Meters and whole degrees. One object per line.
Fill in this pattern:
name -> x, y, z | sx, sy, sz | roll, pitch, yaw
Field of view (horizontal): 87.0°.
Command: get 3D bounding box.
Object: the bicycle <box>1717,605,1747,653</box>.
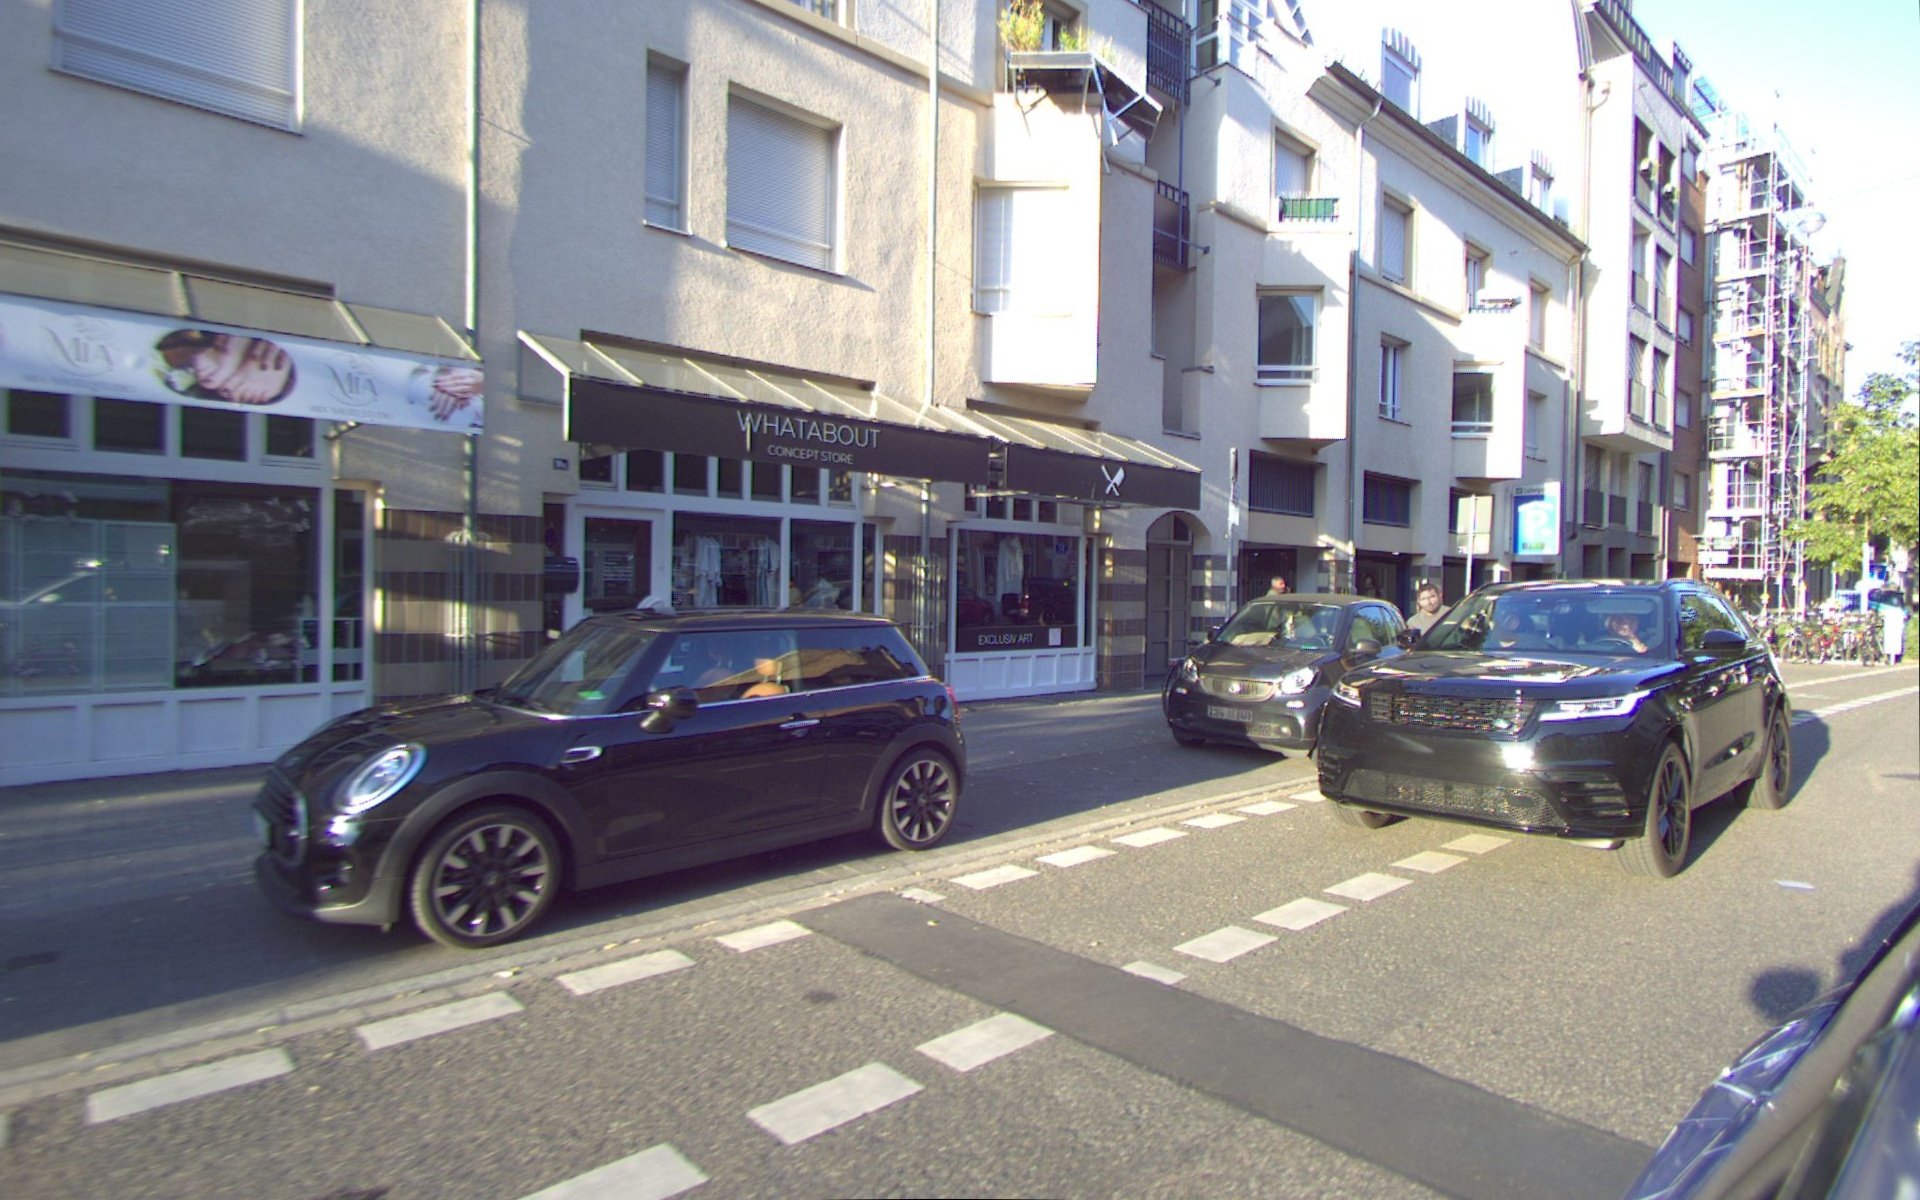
bicycle -> 19.231, 0.706, 25.206 | 1.498, 1.114, 0.382 | -1, 2, -45

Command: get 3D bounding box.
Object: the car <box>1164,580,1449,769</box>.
car -> 3.509, 0.620, 10.133 | 2.649, 1.573, 1.635 | 0, 2, -43

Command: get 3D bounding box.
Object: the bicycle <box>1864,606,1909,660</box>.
bicycle -> 20.975, 0.736, 22.894 | 1.535, 1.155, 0.364 | -1, 1, -33

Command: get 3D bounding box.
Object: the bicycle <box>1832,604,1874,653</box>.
bicycle -> 21.632, 0.682, 24.534 | 0.379, 1.114, 1.508 | 1, 1, 28

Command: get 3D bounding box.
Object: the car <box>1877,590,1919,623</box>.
car -> 47.894, 0.392, 49.313 | 1.877, 1.530, 4.536 | 2, 1, -40

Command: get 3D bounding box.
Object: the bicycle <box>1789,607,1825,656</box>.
bicycle -> 20.219, 0.734, 24.155 | 1.537, 1.114, 0.382 | 0, 1, -40

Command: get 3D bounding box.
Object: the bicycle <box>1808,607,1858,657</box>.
bicycle -> 20.365, 0.728, 23.606 | 1.492, 1.122, 0.373 | 0, 1, -29

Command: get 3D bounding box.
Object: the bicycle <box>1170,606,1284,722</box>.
bicycle -> 3.186, 0.716, 11.982 | 1.795, 1.249, 0.397 | 0, 2, -44

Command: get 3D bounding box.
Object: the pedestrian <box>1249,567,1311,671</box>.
pedestrian -> 5.287, 0.292, 16.720 | 0.798, 1.667, 0.606 | 0, 0, -36

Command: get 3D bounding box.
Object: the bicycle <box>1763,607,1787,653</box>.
bicycle -> 20.644, 0.736, 25.635 | 0.381, 1.114, 1.500 | 2, 1, 42

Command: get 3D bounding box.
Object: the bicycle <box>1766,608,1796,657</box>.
bicycle -> 19.690, 0.754, 24.269 | 1.498, 1.114, 0.382 | -1, 1, -44

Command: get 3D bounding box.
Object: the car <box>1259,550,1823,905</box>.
car -> 4.251, 0.597, 7.053 | 4.592, 1.676, 1.998 | 0, -1, -41

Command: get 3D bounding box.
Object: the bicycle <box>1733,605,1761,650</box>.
bicycle -> 20.460, 0.701, 26.300 | 1.498, 1.114, 0.382 | 0, 1, -45

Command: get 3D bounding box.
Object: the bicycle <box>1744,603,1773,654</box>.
bicycle -> 19.532, 0.677, 24.761 | 1.498, 1.204, 0.382 | -1, 0, -45

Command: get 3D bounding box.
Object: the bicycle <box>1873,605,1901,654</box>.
bicycle -> 22.108, 0.696, 24.124 | 1.498, 1.114, 0.382 | 0, 1, -44

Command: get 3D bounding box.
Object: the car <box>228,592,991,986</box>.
car -> -1.734, 0.699, 5.657 | 3.693, 1.442, 1.636 | 0, 2, -42

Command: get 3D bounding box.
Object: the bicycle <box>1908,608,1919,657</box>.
bicycle -> 22.653, 0.754, 23.850 | 1.498, 1.114, 0.382 | -1, 2, -44

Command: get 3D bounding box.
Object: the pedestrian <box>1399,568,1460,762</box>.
pedestrian -> 4.236, 0.557, 9.156 | 0.438, 1.685, 0.561 | 2, 1, 24
